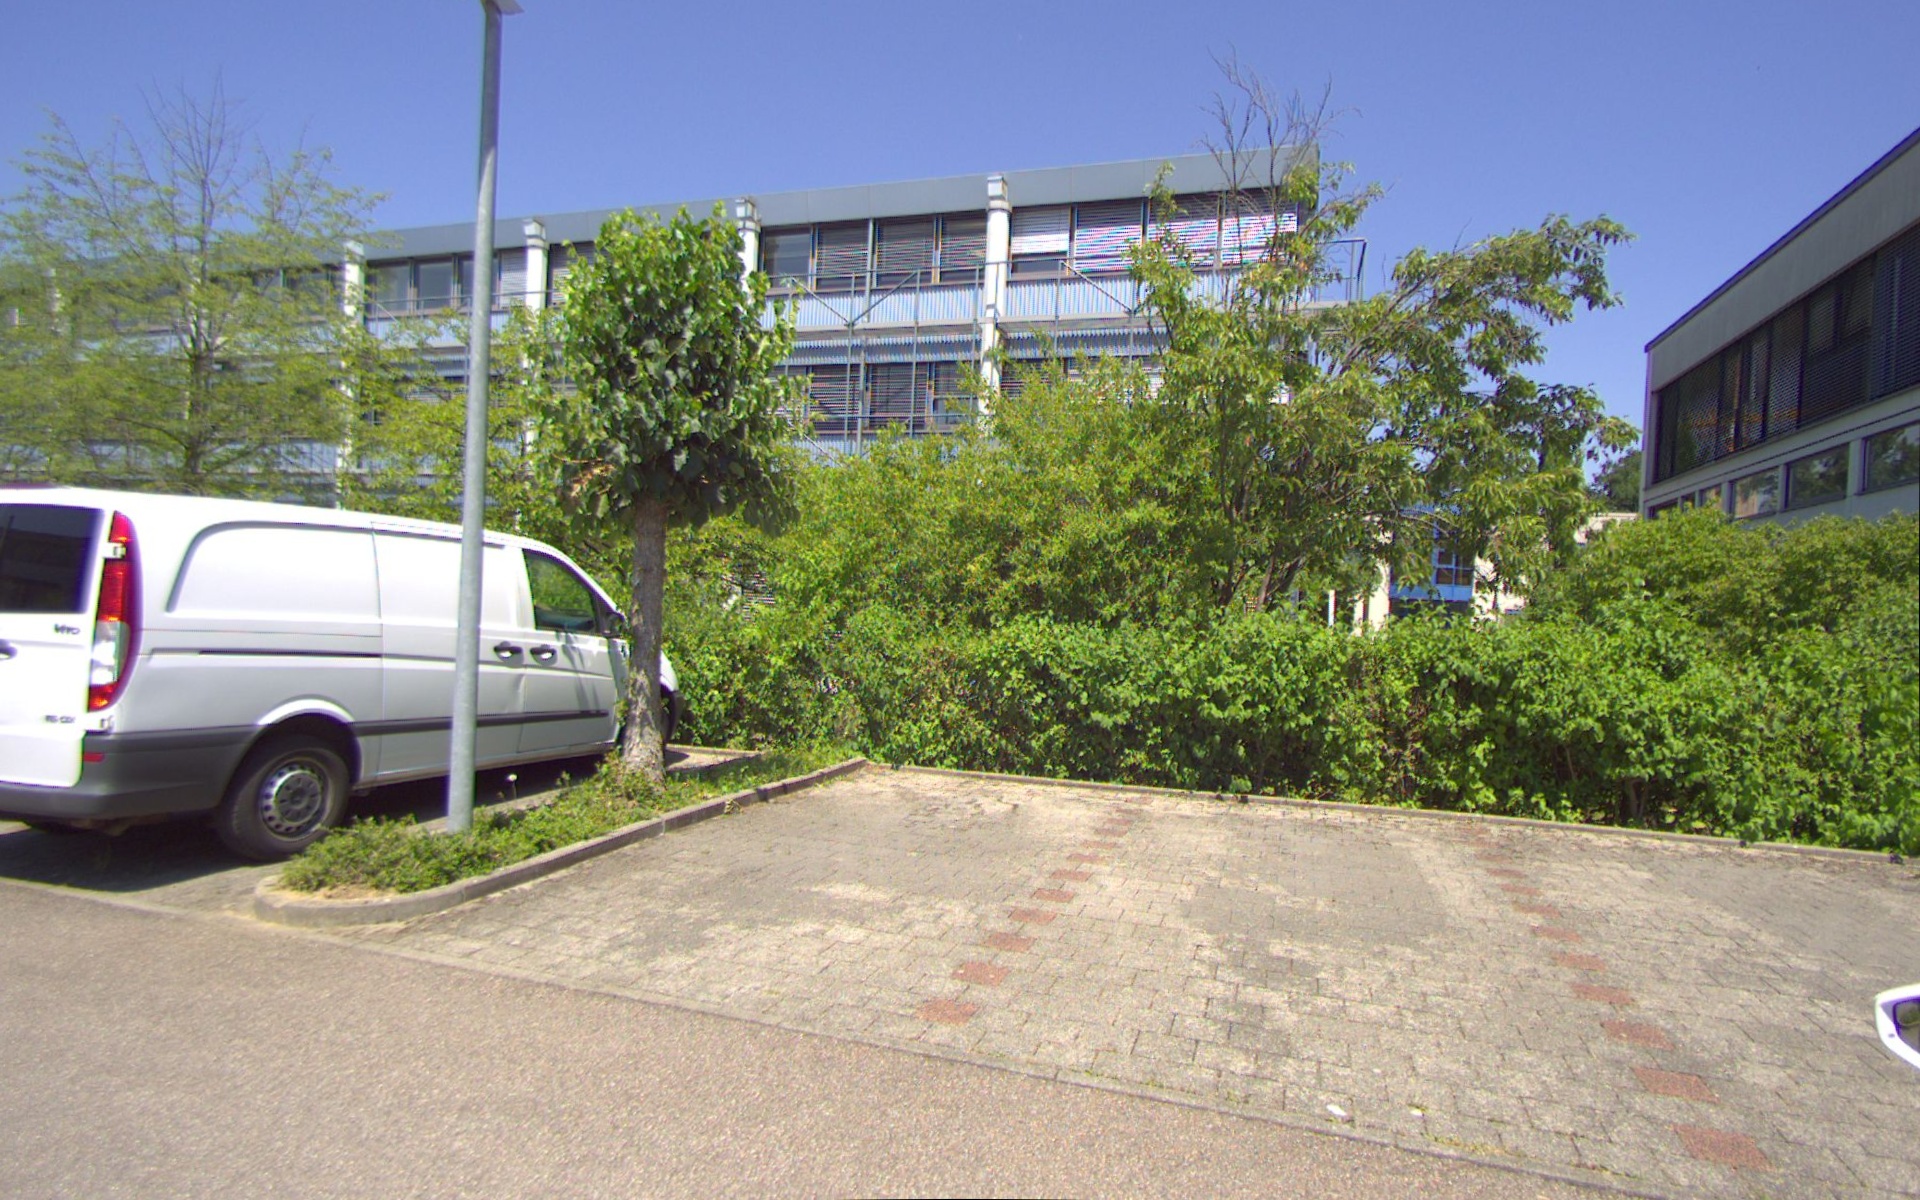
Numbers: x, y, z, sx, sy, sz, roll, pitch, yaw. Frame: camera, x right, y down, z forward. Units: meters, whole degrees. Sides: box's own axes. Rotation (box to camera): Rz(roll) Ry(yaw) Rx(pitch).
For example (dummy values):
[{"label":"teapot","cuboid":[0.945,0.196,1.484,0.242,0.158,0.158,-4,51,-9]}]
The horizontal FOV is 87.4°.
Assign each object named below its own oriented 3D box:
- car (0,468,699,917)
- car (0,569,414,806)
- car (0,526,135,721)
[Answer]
[{"label":"car","cuboid":[-3.947,0.407,6.898,1.881,1.930,4.809,1,0,17]},{"label":"car","cuboid":[-6.616,0.544,8.136,1.724,1.496,4.002,1,0,9]},{"label":"car","cuboid":[-10.751,0.208,9.091,1.850,1.916,4.803,1,0,20]}]
